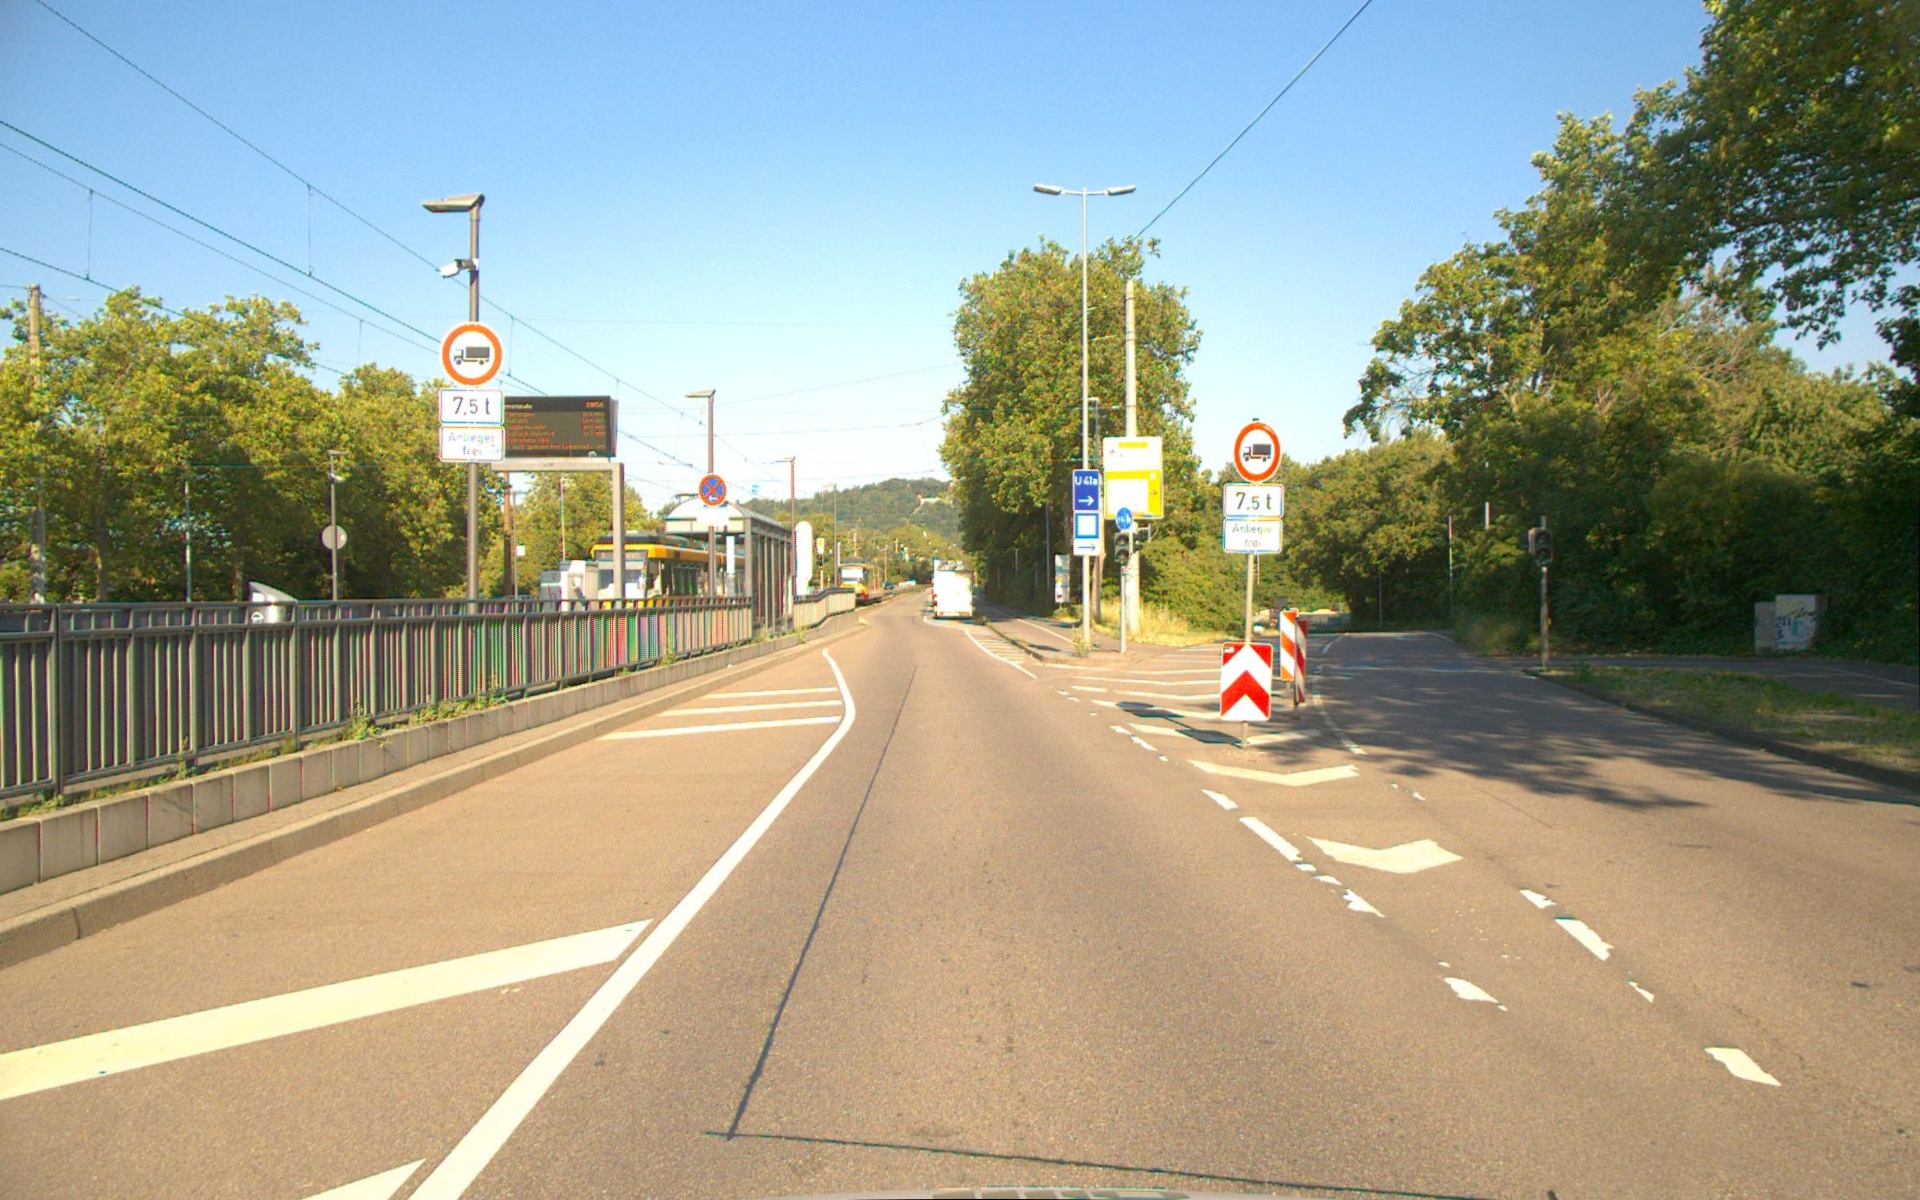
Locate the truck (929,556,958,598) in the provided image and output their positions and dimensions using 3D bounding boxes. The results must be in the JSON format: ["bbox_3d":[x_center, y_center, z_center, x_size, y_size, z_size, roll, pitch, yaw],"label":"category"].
[{"bbox_3d":[-1.653,-2.212,159.004,2.662,3.849,9.759,1,1,-1],"label":"truck"}]

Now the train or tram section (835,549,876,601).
[{"bbox_3d":[-8.861,-2.143,141.758,2.666,4.162,13.614,-1,1,0],"label":"train or tram section"}]

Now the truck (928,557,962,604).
[{"bbox_3d":[-1.307,-1.654,140.778,2.686,3.849,10.087,1,1,-1],"label":"truck"}]

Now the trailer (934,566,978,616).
[{"bbox_3d":[-0.188,-0.521,92.833,2.204,2.741,5.949,0,1,2],"label":"trailer"}]

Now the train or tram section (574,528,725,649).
[{"bbox_3d":[-11.642,-0.442,63.965,2.769,4.076,15.875,1,0,0],"label":"train or tram section"}]

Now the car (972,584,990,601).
[{"bbox_3d":[1.864,-0.683,147.296,1.619,1.462,3.777,0,0,1],"label":"car"}]
